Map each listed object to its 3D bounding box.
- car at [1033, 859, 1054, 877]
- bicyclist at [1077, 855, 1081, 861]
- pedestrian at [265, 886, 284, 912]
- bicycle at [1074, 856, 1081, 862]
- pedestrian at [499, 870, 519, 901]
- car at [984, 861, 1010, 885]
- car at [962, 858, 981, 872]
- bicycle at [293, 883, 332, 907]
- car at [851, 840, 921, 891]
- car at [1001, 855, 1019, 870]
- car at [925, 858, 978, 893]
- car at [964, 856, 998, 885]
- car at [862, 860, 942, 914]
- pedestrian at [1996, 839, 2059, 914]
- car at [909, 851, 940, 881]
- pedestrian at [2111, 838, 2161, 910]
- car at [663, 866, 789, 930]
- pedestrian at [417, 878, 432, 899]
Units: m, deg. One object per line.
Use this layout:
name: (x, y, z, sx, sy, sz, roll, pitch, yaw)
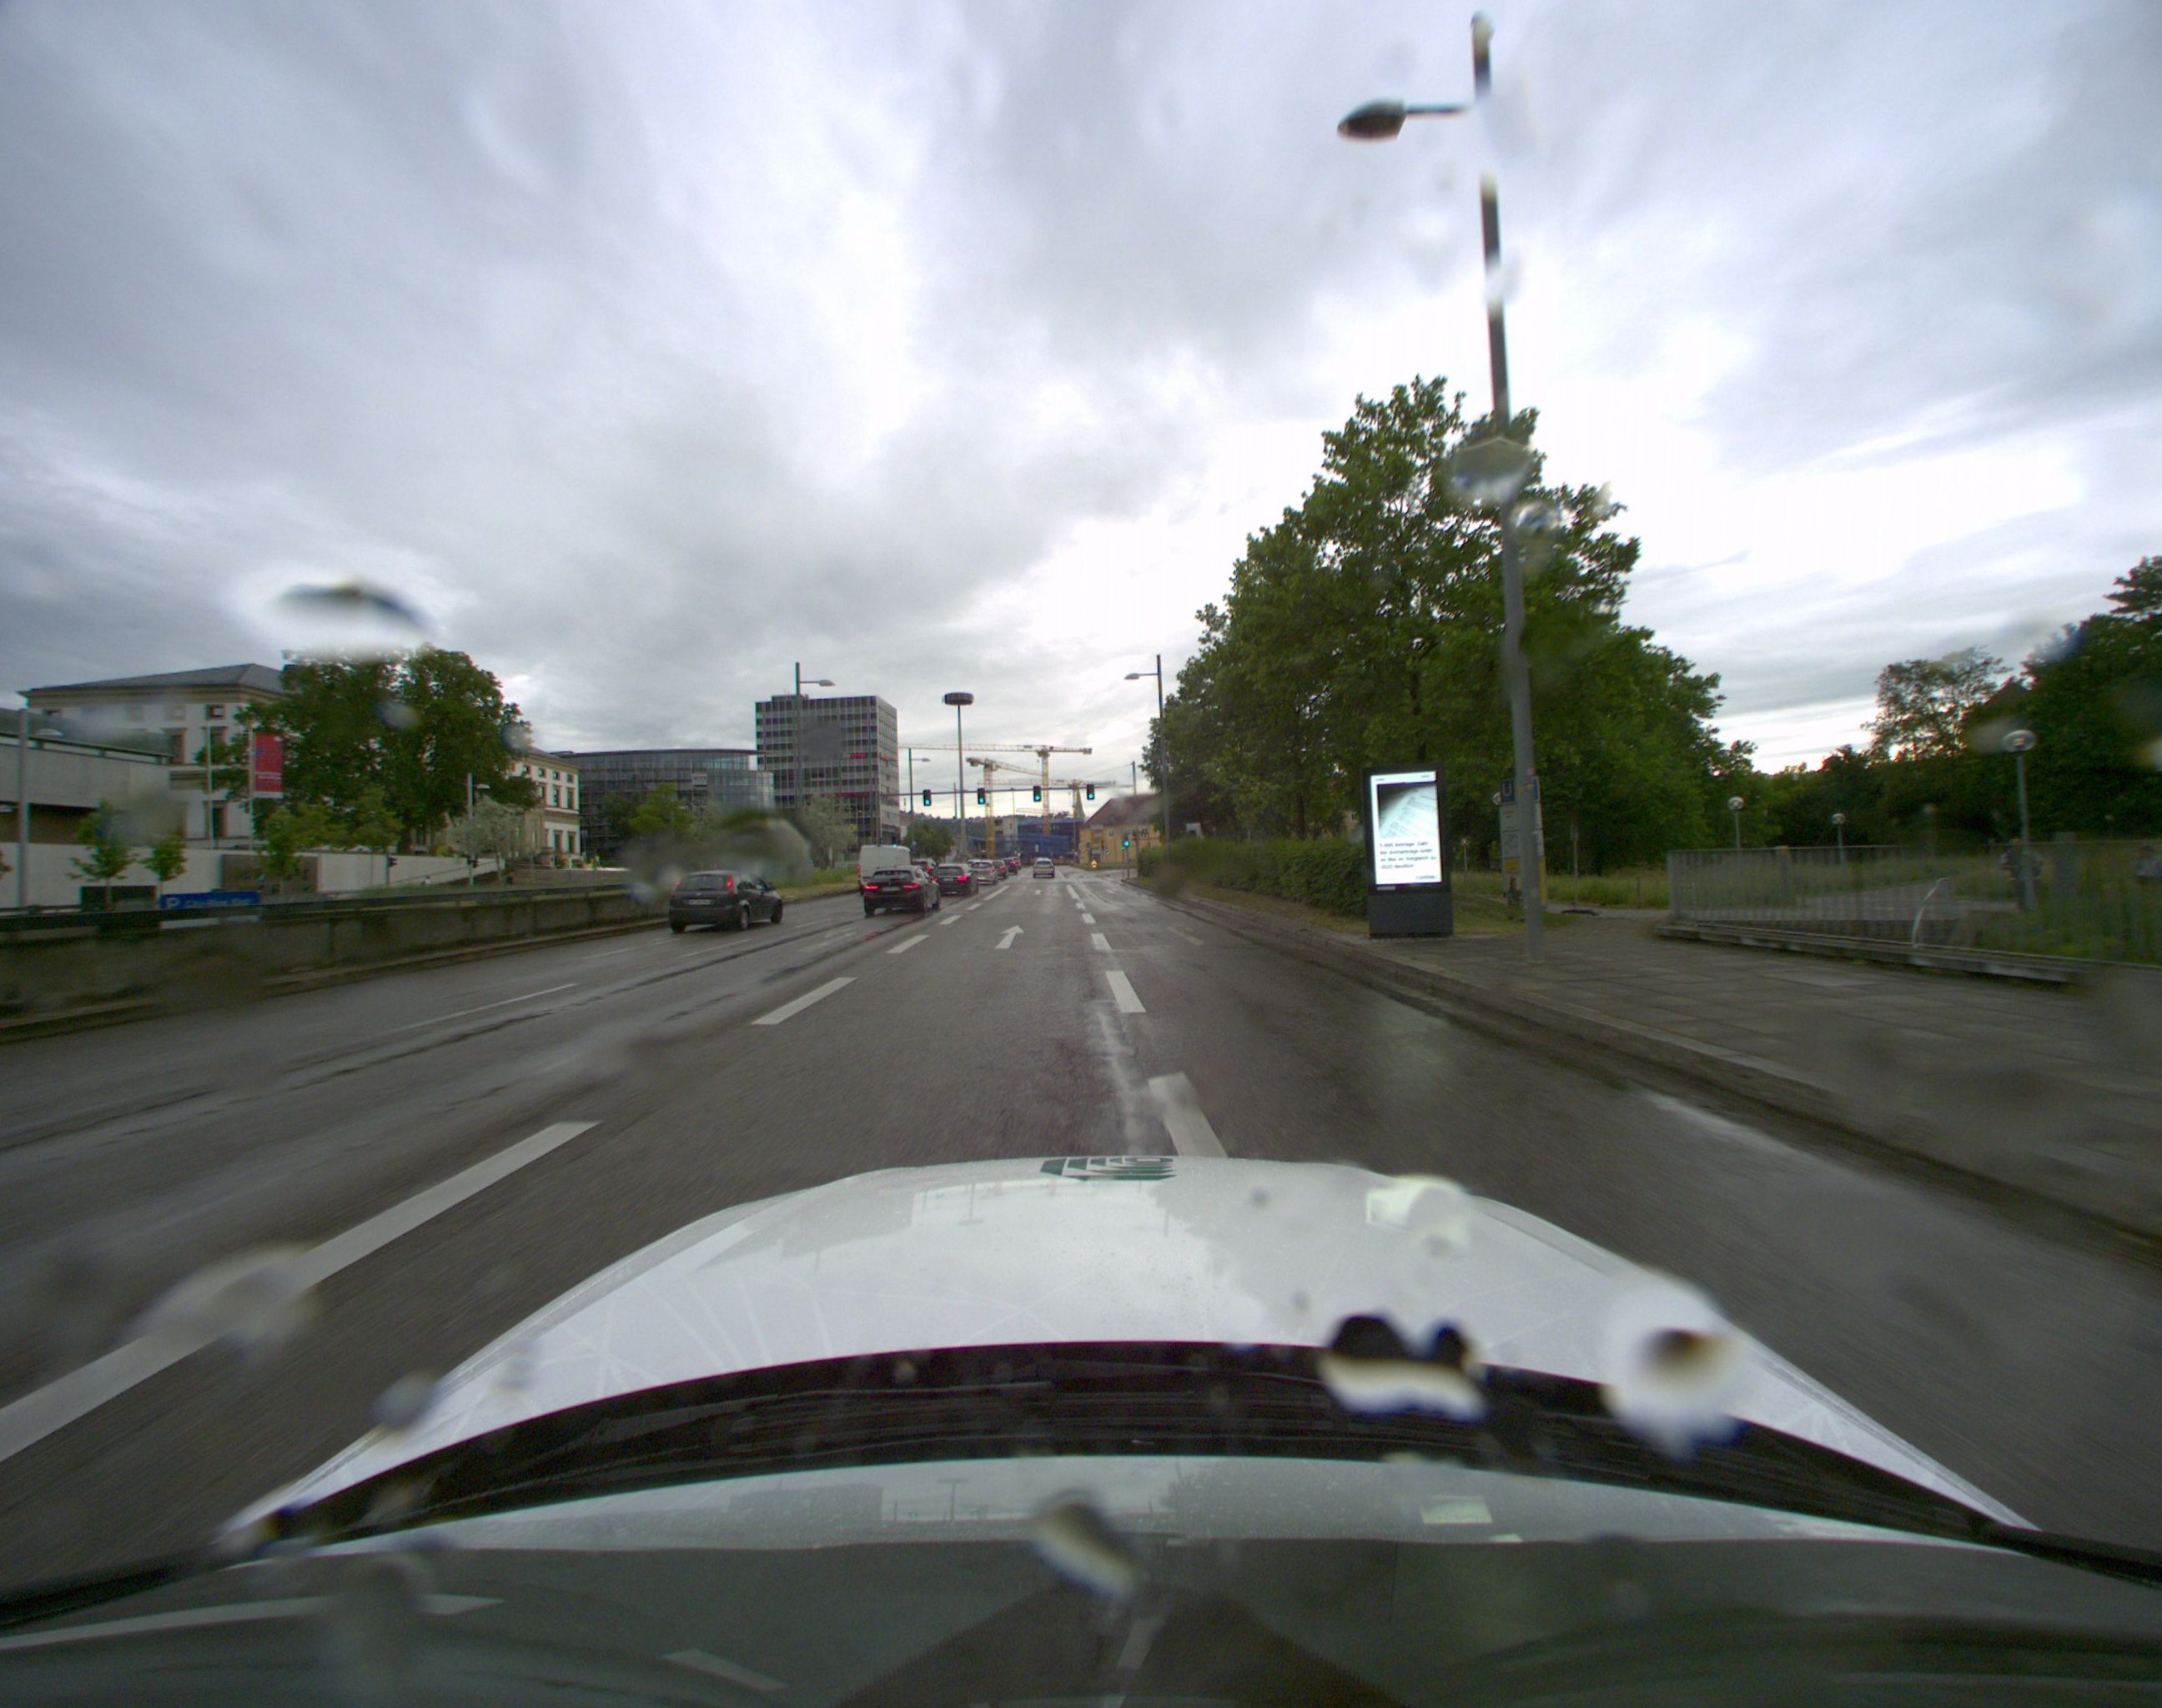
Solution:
car: (-2.961, 1.139, 64.818, 1.439, 1.359, 2.412, -1, -2, 1)
bicyclist: (-0.477, 0.871, 165.535, 0.705, 1.275, 0.631, 0, -2, -18)
pedestrian: (-44.966, 2.510, 45.405, 0.465, 1.383, 0.577, -1, -2, 3)
bicycle: (-0.618, 1.031, 165.740, 0.882, 1.010, 1.981, 0, -2, -17)
pedestrian: (-39.808, 2.215, 56.706, 0.763, 2.090, 0.728, 0, 4, 6)
car: (-6.447, 1.485, 62.800, 1.711, 1.727, 3.492, -1, -2, -2)
car: (-10.674, 1.070, 79.695, 1.547, 1.260, 2.578, -1, -2, -2)
bicycle: (-43.081, 2.306, 45.644, 1.479, 1.308, 0.554, 0, -2, -16)
car: (-9.472, 0.588, 39.959, 2.286, 2.314, 5.003, -1, -2, -1)
car: (-6.627, 0.813, 76.004, 1.489, 1.369, 3.030, -1, -2, -2)
car: (-5.764, 0.966, 36.607, 1.824, 1.495, 3.398, -1, -2, 0)
car: (-6.146, 1.035, 50.490, 1.877, 1.653, 3.452, -1, -2, -4)
car: (-5.512, 0.968, 25.583, 1.749, 1.471, 4.218, -1, 0, -3)
pedestrian: (21.396, 0.503, 18.421, 0.730, 1.642, 0.822, 0, -2, -37)
car: (-9.407, 0.757, 49.101, 1.461, 1.706, 3.137, -1, -2, -4)
pedestrian: (25.498, 0.469, 19.504, 0.768, 1.692, 0.649, -1, -2, -1)
car: (-8.650, 1.037, 20.218, 1.538, 1.415, 3.897, -1, -2, -2)
pedestrian: (-46.162, 2.414, 57.285, 0.488, 1.423, 0.636, -2, -2, 18)
